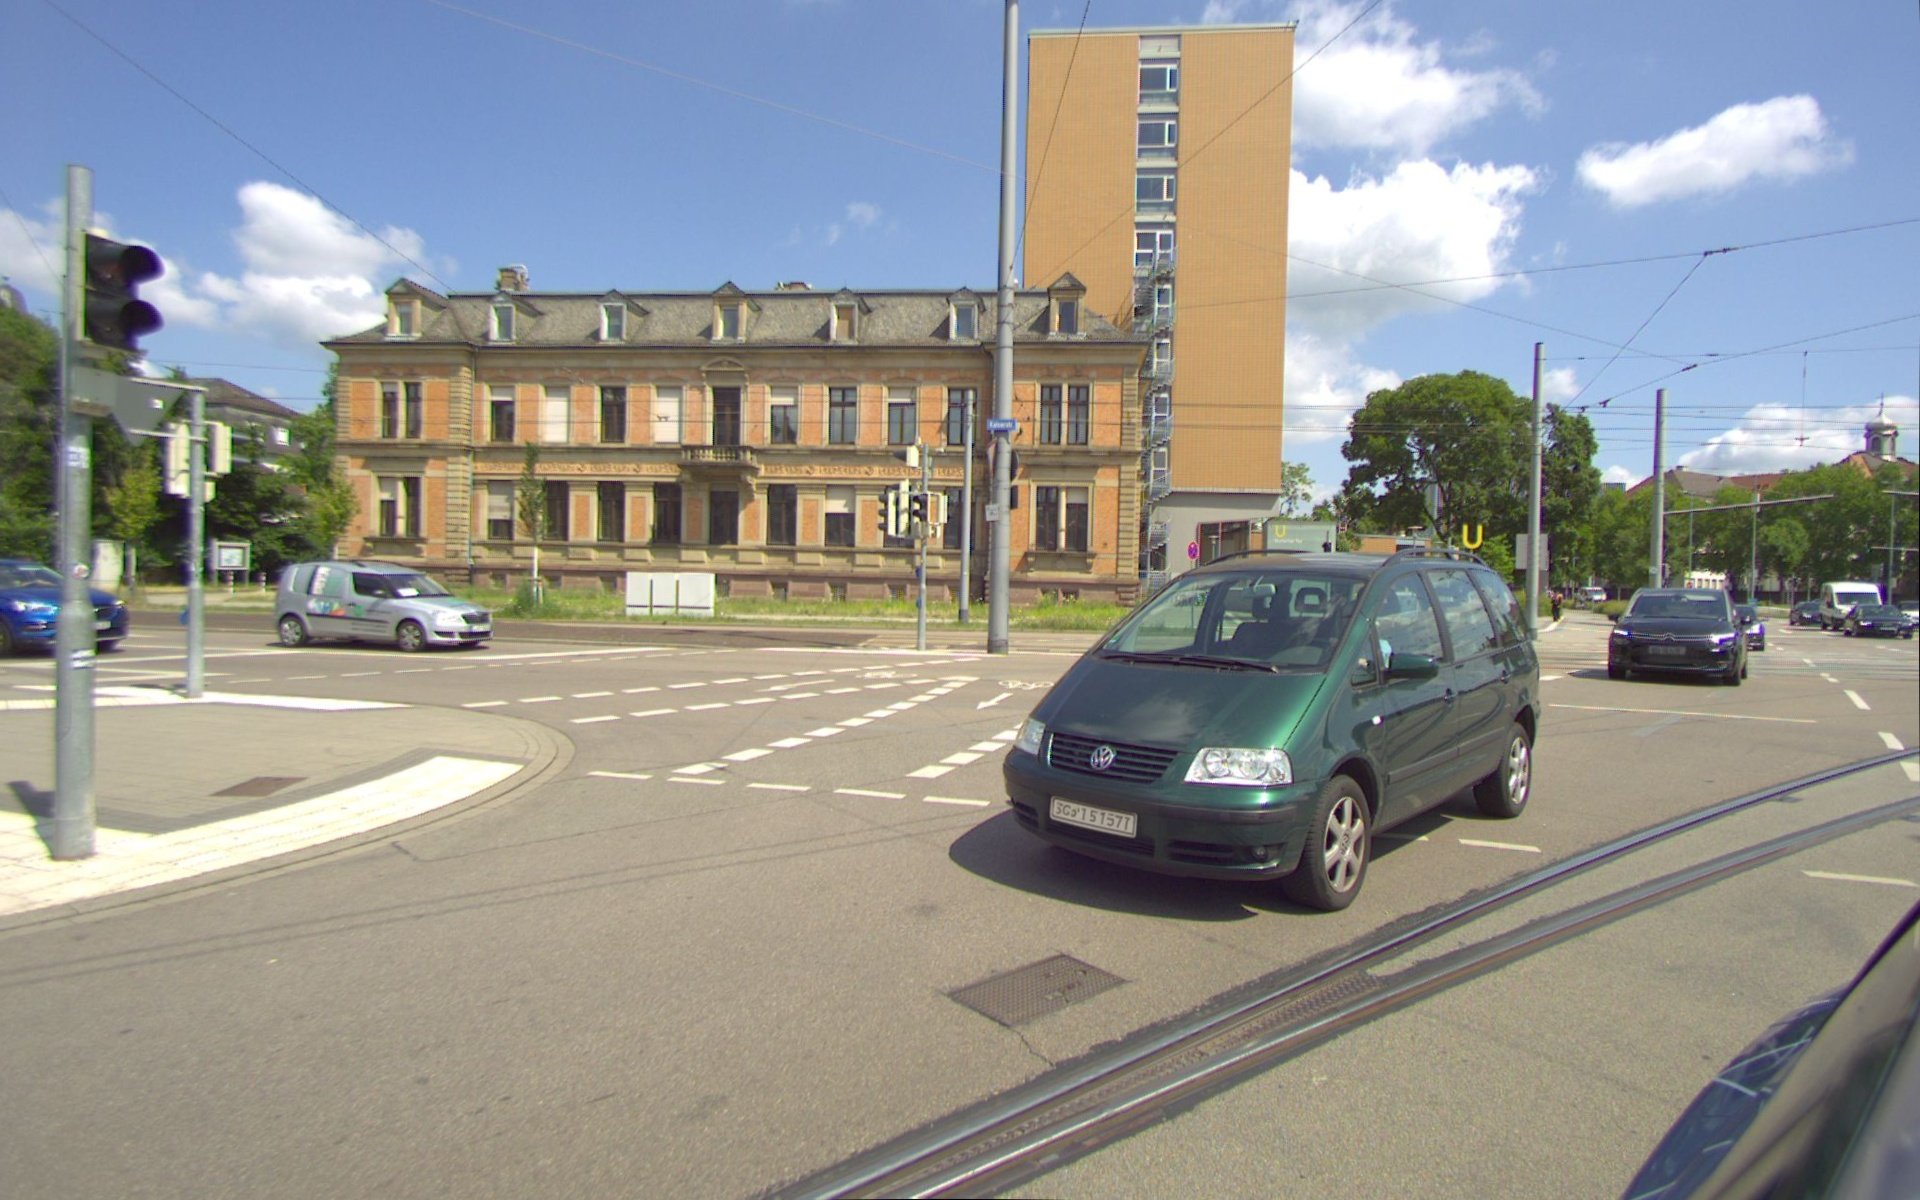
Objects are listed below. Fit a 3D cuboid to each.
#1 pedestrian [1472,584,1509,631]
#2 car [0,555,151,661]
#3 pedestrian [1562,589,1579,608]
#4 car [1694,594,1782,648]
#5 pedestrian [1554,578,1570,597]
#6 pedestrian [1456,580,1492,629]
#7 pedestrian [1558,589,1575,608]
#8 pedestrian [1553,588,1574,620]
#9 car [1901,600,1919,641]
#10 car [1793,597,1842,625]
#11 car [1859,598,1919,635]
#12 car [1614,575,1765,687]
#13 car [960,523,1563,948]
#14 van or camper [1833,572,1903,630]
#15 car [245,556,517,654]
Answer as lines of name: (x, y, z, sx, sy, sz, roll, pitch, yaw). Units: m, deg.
pedestrian: (20.191, 0.278, 38.534, 1.011, 1.741, 0.726, 1, 1, 10)
car: (-16.433, 0.054, 17.243, 4.360, 1.569, 1.867, 2, 3, 14)
pedestrian: (57.317, -0.123, 94.998, 1.141, 1.711, 1.299, 2, 1, 27)
car: (24.521, 0.640, 31.847, 1.867, 1.504, 4.359, 3, 1, 41)
pedestrian: (57.983, -1.188, 97.491, 1.141, 1.711, 1.299, 2, 1, 27)
pedestrian: (19.954, 0.167, 39.307, 1.011, 1.835, 0.726, 1, 1, 10)
pedestrian: (55.565, -0.142, 92.680, 1.141, 1.711, 1.299, 2, 1, 27)
pedestrian: (31.651, 0.202, 53.073, 0.826, 1.606, 0.757, 3, 0, 39)
car: (49.912, 1.083, 52.010, 1.806, 2.039, 3.946, 3, 1, 37)
car: (51.652, 0.660, 61.037, 1.770, 1.594, 3.912, 3, 1, 34)
car: (41.069, 0.685, 44.568, 1.892, 1.482, 4.203, 2, 1, 38)
car: (12.846, 0.456, 17.726, 1.865, 1.636, 4.365, 4, 2, 38)
car: (2.067, 0.548, 6.203, 4.017, 1.739, 1.816, 0, 0, -44)
van or camper: (46.763, 0.031, 52.231, 2.221, 2.769, 5.446, 2, 1, 38)
car: (-10.927, 0.056, 19.193, 4.359, 1.607, 1.867, 2, 1, 13)
